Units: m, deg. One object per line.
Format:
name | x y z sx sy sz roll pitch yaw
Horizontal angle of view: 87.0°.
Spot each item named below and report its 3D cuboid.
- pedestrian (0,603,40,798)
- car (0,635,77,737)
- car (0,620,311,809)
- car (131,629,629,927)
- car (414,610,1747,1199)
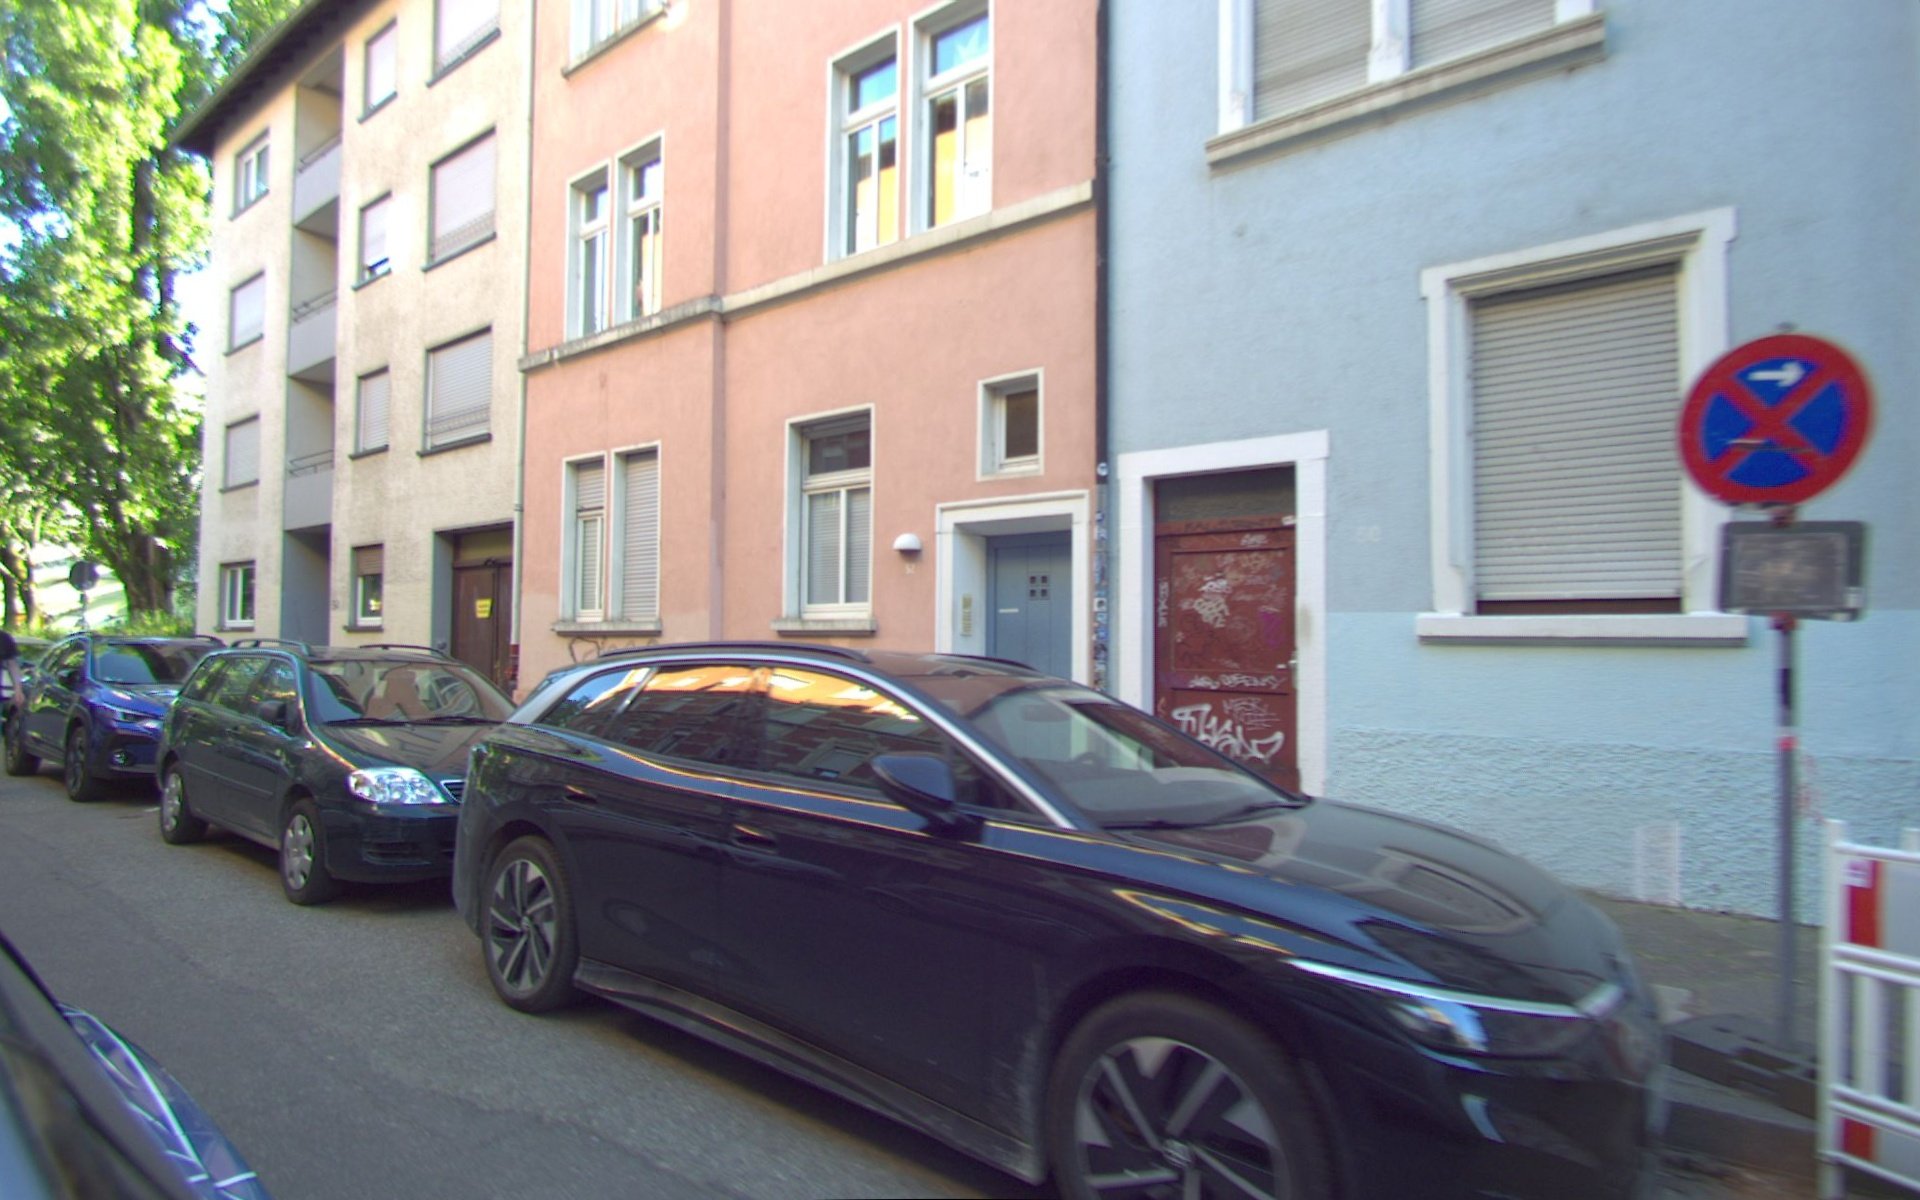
pedestrian | -9.172 0.915 9.380 0.996 1.767 0.731 -2 -5 39
car | -15.817 1.366 16.504 3.656 1.533 1.446 -2 -5 39
car | -8.494 1.060 10.511 4.244 1.586 1.626 -2 -5 39
car | -4.186 0.991 7.056 3.995 1.503 1.626 -2 -4 39
car | -0.060 0.884 3.776 4.690 1.520 1.749 -2 -5 39
